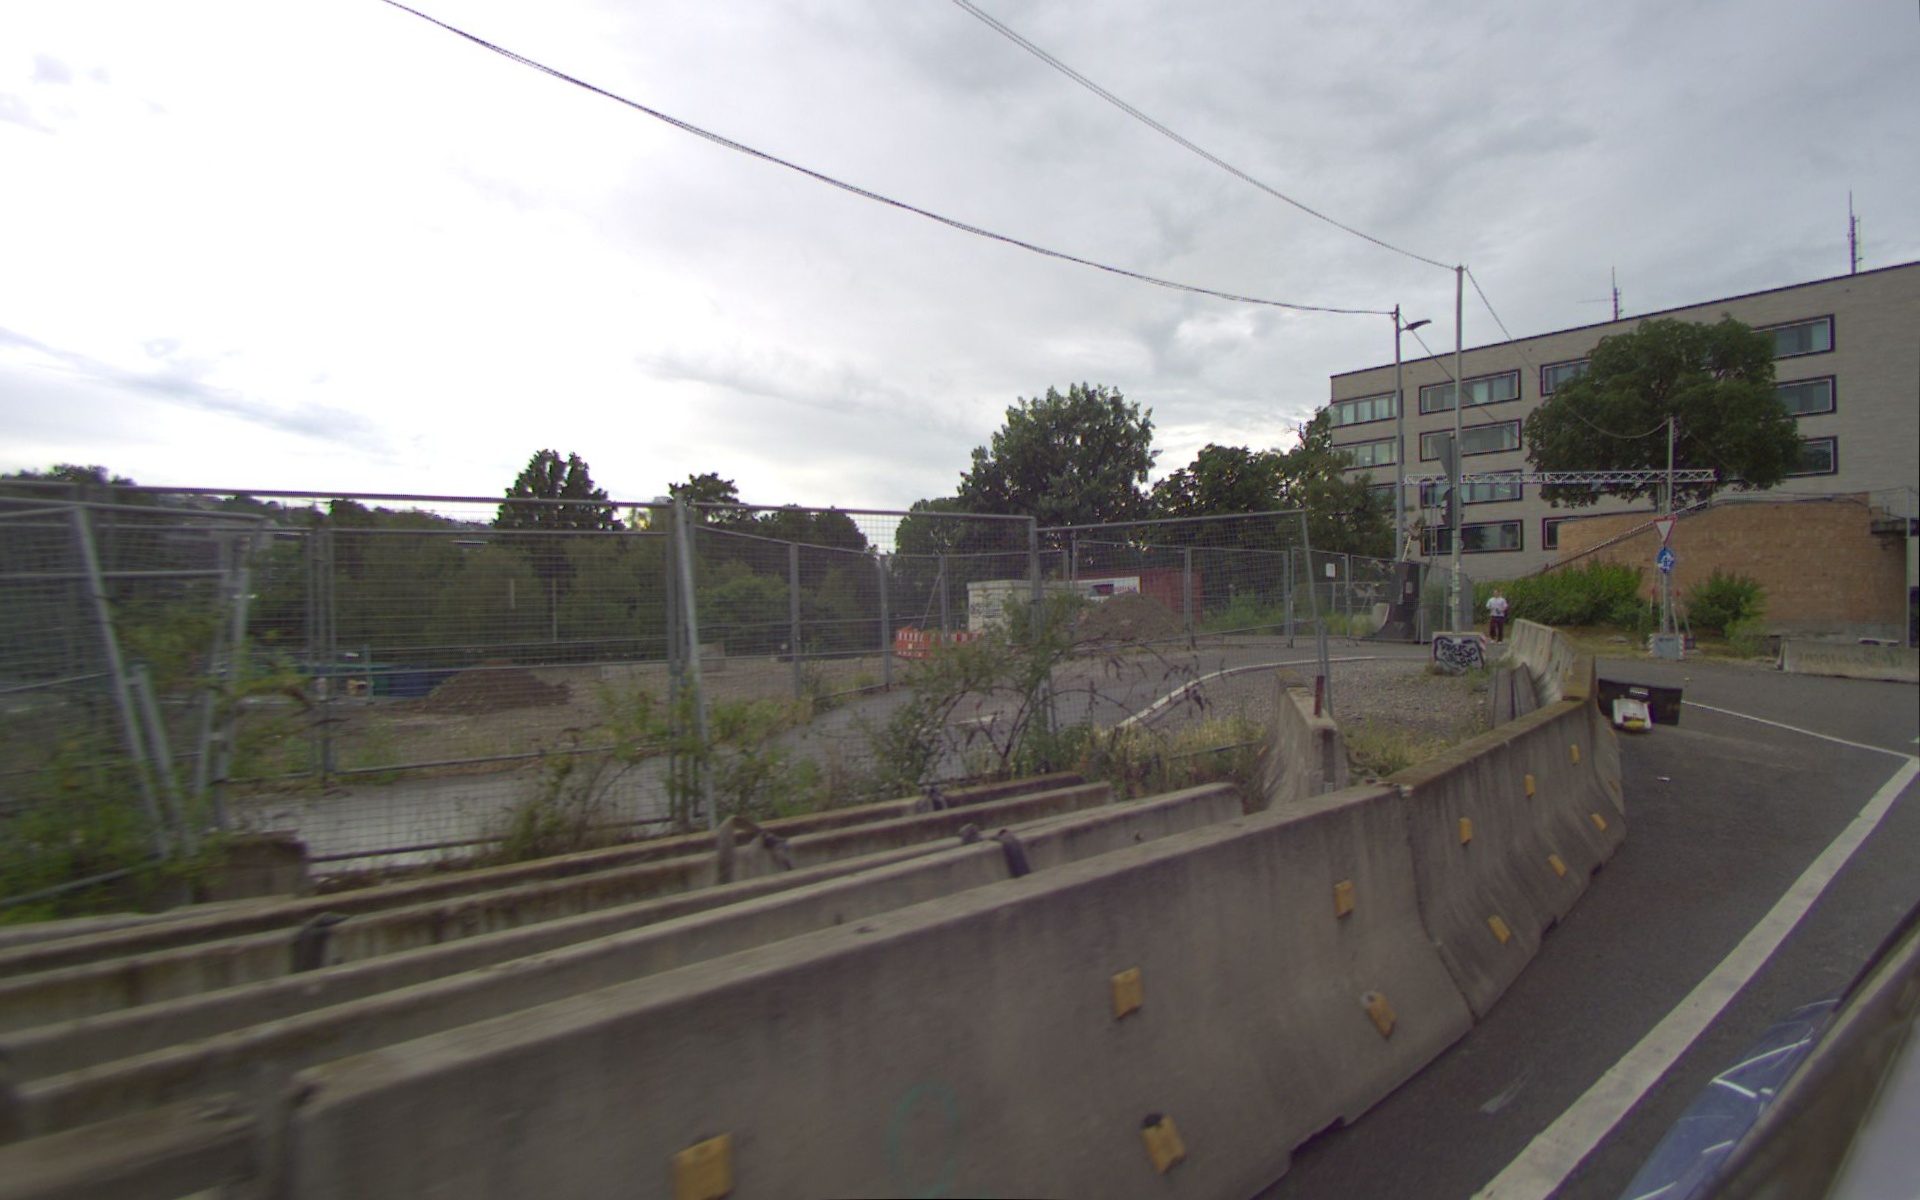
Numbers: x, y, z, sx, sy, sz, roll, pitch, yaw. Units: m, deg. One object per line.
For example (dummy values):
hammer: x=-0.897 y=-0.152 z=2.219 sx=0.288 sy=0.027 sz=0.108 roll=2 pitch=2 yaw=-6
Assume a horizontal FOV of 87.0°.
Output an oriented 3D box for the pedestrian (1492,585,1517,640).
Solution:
pedestrian: x=18.290 y=0.413 z=33.981 sx=0.686 sy=1.801 sz=0.806 roll=-1 pitch=-1 yaw=32
